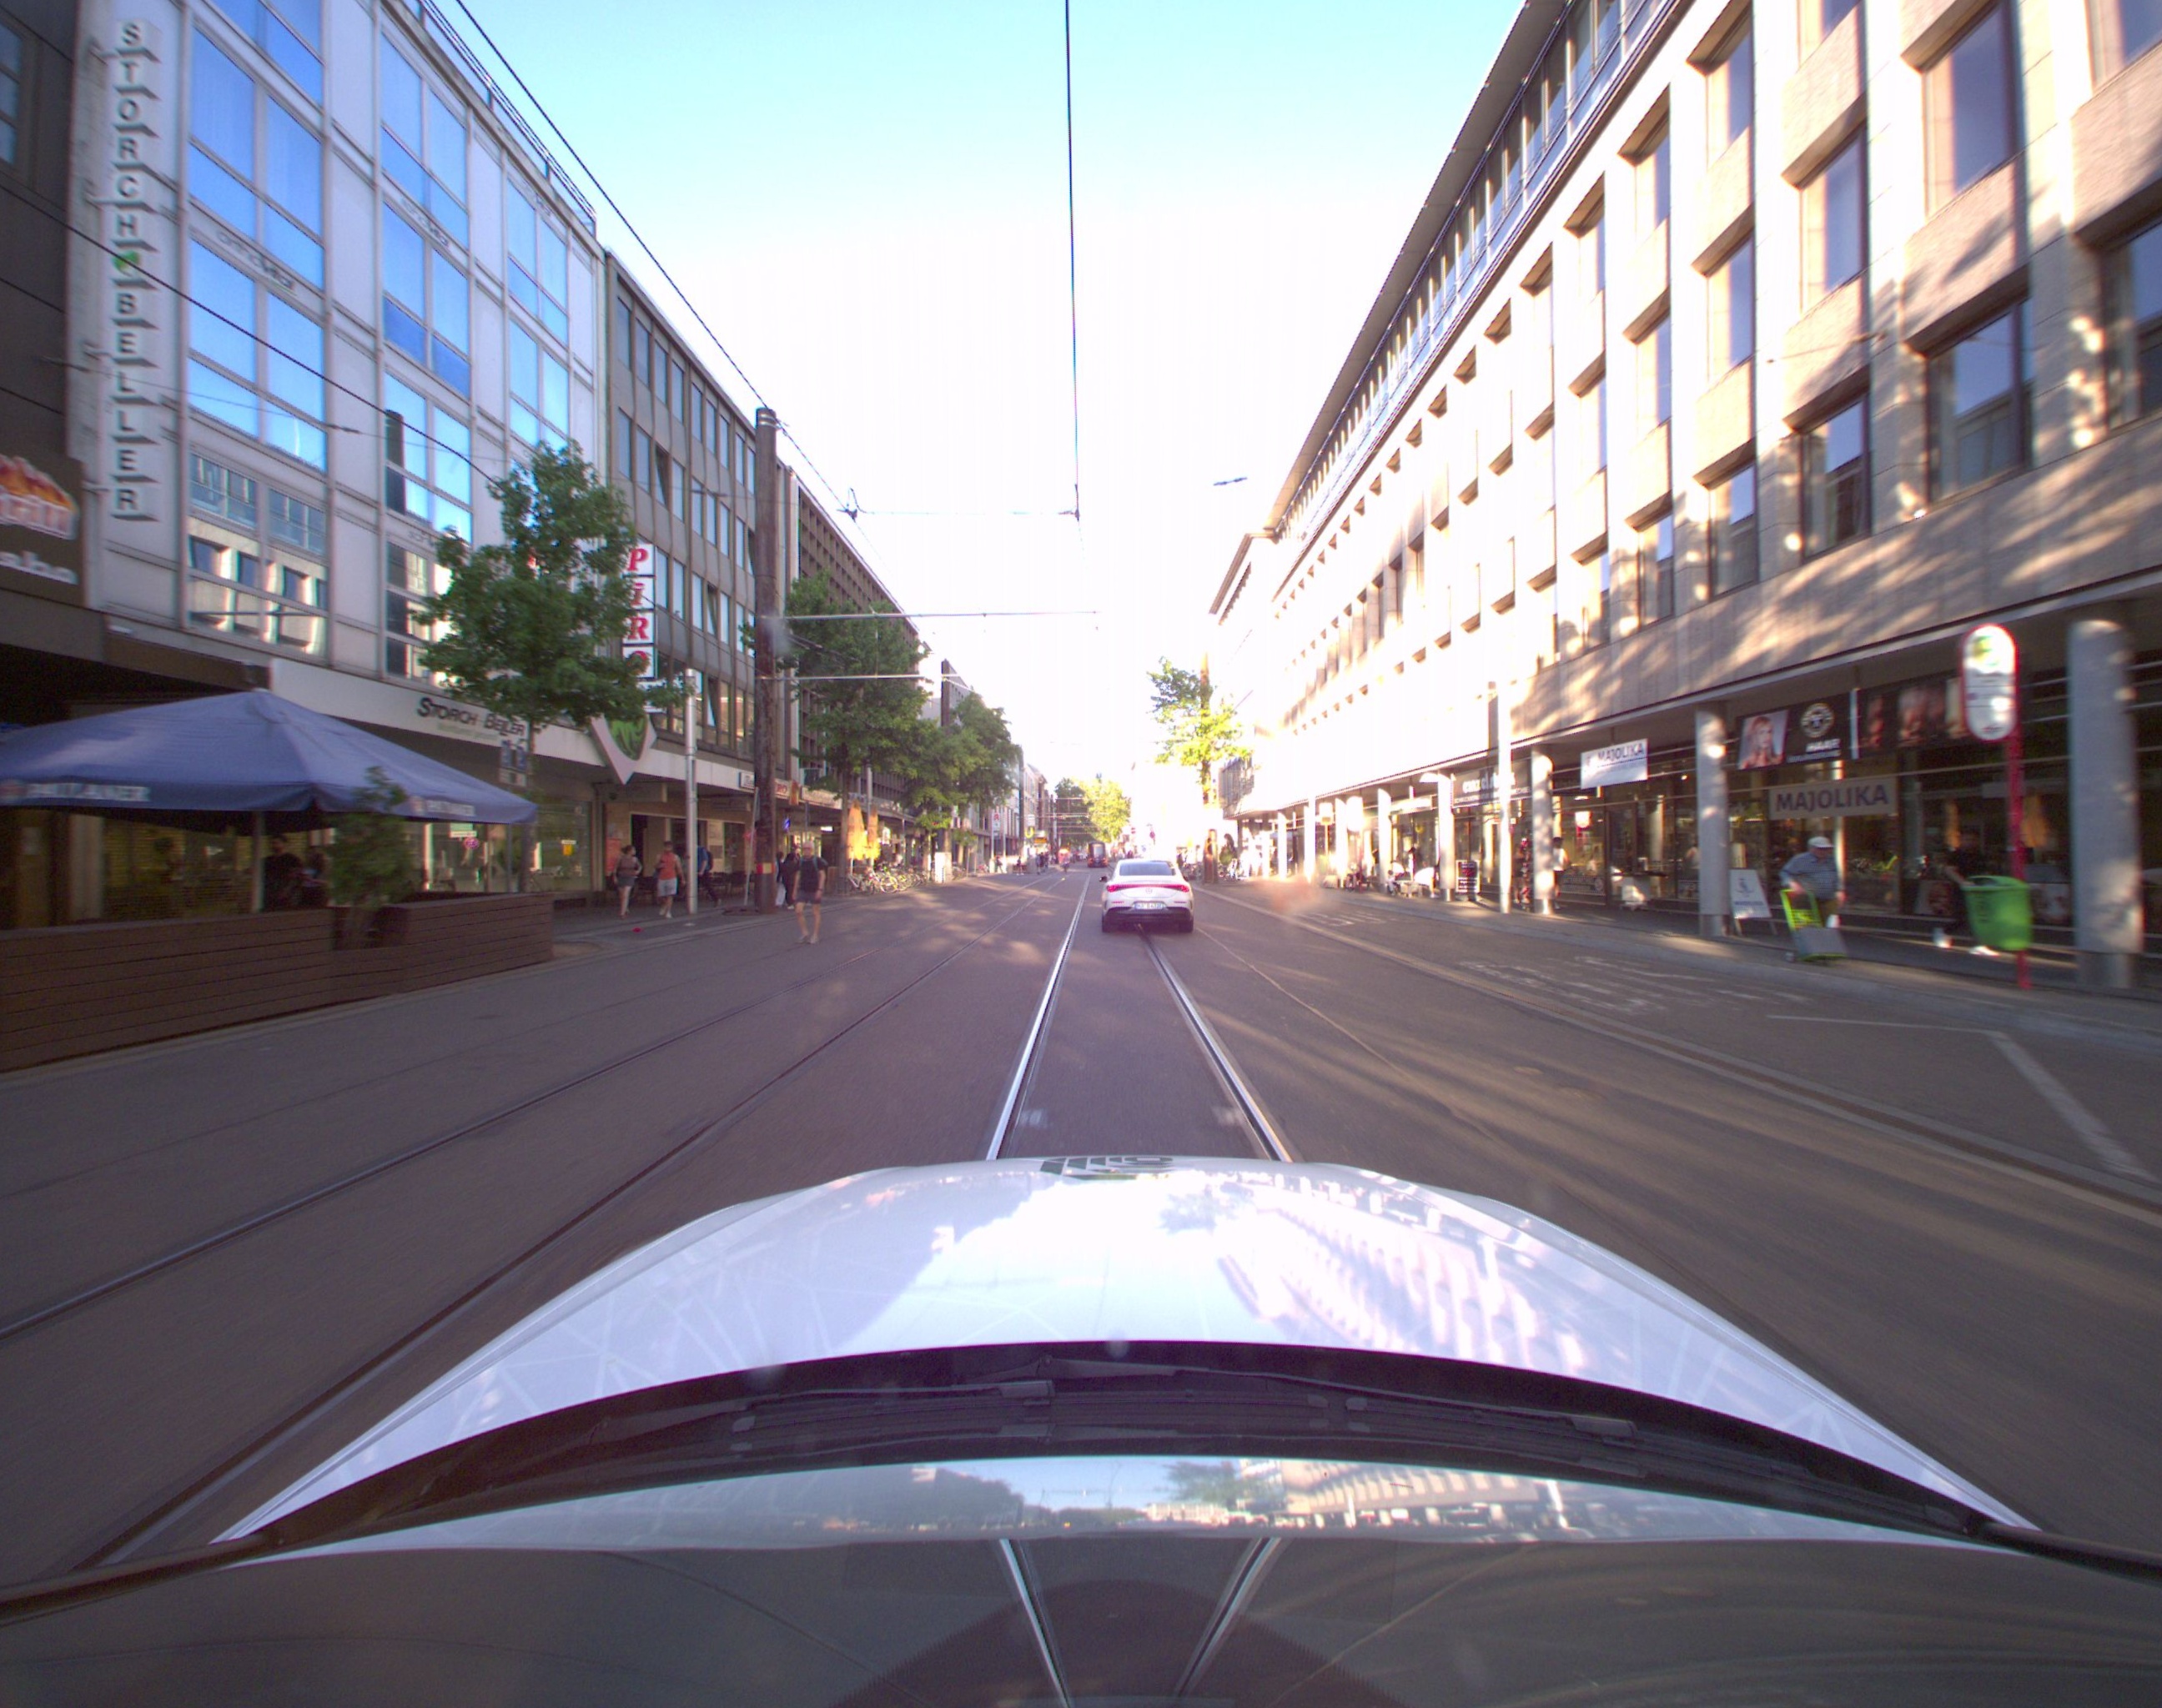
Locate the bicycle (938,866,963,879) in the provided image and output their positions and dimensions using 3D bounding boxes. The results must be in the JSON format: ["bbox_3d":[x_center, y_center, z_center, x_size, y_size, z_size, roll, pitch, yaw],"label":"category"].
[{"bbox_3d":[-8.089,1.117,50.384,1.487,0.783,0.345,1,0,2],"label":"bicycle"}]

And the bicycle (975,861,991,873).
[{"bbox_3d":[-8.764,1.185,72.985,0.713,1.010,2.047,-1,0,15],"label":"bicycle"}]

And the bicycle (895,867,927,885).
[{"bbox_3d":[-8.196,1.081,39.290,1.487,0.841,0.345,1,0,2],"label":"bicycle"}]

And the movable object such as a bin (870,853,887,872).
[{"bbox_3d":[-11.077,0.463,44.592,0.713,1.039,0.980,-1,0,-5],"label":"movable object such as a bin"}]

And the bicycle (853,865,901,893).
[{"bbox_3d":[-8.093,0.976,32.356,1.785,1.077,0.376,1,0,-4],"label":"bicycle"}]

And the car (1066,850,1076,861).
[{"bbox_3d":[-2.141,0.355,179.880,1.903,2.461,5.276,-1,0,1],"label":"car"}]

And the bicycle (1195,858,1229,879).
[{"bbox_3d":[7.879,0.860,49.070,1.908,1.156,0.607,-2,0,-11],"label":"bicycle"}]

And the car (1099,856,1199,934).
[{"bbox_3d":[1.332,0.780,17.429,1.851,1.455,4.175,0,0,1],"label":"car"}]

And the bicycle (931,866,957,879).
[{"bbox_3d":[-8.275,1.116,49.293,1.487,0.783,0.345,1,0,2],"label":"bicycle"}]

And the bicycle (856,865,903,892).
[{"bbox_3d":[-8.114,0.980,32.814,1.785,1.077,0.376,1,0,-4],"label":"bicycle"}]

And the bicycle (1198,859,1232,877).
[{"bbox_3d":[8.598,0.878,52.291,2.115,1.096,0.607,-1,-1,-12],"label":"bicycle"}]

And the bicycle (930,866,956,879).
[{"bbox_3d":[-8.288,1.115,48.934,1.487,0.783,0.345,1,0,2],"label":"bicycle"}]

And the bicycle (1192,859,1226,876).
[{"bbox_3d":[8.571,0.899,54.490,2.114,1.096,0.607,-1,-1,-11],"label":"bicycle"}]

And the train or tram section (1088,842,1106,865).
[{"bbox_3d":[2.639,-0.090,134.985,2.685,3.516,11.145,-1,0,1],"label":"train or tram section"}]

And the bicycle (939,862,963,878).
[{"bbox_3d":[-8.198,0.991,51.344,1.492,1.009,0.343,1,0,-10],"label":"bicycle"}]

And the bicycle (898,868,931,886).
[{"bbox_3d":[-8.107,1.110,39.674,1.487,0.841,0.345,1,0,2],"label":"bicycle"}]

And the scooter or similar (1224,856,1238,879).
[{"bbox_3d":[8.410,0.738,45.543,0.527,1.277,0.658,-2,0,-10],"label":"scooter or similar"}]

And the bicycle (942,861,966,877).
[{"bbox_3d":[-8.056,0.965,51.782,1.492,1.029,0.343,1,0,-10],"label":"bicycle"}]

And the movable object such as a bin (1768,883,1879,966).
[{"bbox_3d":[8.946,0.829,9.834,0.687,0.924,0.718,1,0,1],"label":"movable object such as a bin"}]

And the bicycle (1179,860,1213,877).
[{"bbox_3d":[7.503,0.933,52.967,2.114,1.096,0.607,0,-1,-11],"label":"bicycle"}]

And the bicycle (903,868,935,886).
[{"bbox_3d":[-8.000,1.131,40.316,1.487,0.841,0.345,1,0,2],"label":"bicycle"}]

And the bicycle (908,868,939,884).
[{"bbox_3d":[-8.056,1.143,41.669,1.487,0.783,0.345,1,0,2],"label":"bicycle"}]

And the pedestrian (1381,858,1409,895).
[{"bbox_3d":[10.374,0.724,26.930,0.663,1.198,0.786,0,0,6],"label":"pedestrian"}]

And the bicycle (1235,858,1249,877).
[{"bbox_3d":[9.889,0.810,50.113,0.562,1.127,1.931,-2,0,4],"label":"bicycle"}]

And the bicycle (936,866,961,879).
[{"bbox_3d":[-8.129,1.123,50.015,1.487,0.783,0.345,1,0,2],"label":"bicycle"}]

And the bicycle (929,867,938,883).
[{"bbox_3d":[-7.718,1.082,42.697,0.343,0.783,1.402,1,0,-7],"label":"bicycle"}]

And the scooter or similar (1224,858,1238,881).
[{"bbox_3d":[8.308,0.846,45.041,0.527,1.277,0.658,-2,0,-10],"label":"scooter or similar"}]

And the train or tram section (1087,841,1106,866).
[{"bbox_3d":[2.401,-0.101,123.144,2.685,3.516,12.547,-1,0,1],"label":"train or tram section"}]

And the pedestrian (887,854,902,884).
[{"bbox_3d":[-10.395,0.812,45.385,0.713,1.639,0.683,-1,0,-5],"label":"pedestrian"}]

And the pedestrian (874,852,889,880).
[{"bbox_3d":[-11.133,0.648,45.428,0.713,1.547,0.683,-1,0,-5],"label":"pedestrian"}]

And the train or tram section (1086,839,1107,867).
[{"bbox_3d":[2.141,-0.107,110.591,2.685,3.516,12.547,-1,0,1],"label":"train or tram section"}]

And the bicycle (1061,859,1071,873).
[{"bbox_3d":[-1.314,1.066,72.339,0.797,1.142,2.256,1,0,0],"label":"bicycle"}]

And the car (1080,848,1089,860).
[{"bbox_3d":[0.892,-0.041,211.911,2.091,2.897,5.276,-1,0,1],"label":"car"}]

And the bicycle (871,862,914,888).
[{"bbox_3d":[-8.462,0.936,36.609,1.839,1.141,0.377,1,0,2],"label":"bicycle"}]

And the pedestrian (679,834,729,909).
[{"bbox_3d":[-9.998,0.452,21.624,0.798,1.923,1.070,2,0,-2],"label":"pedestrian"}]

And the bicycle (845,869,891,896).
[{"bbox_3d":[-7.738,1.026,29.606,1.587,0.930,0.378,1,0,7],"label":"bicycle"}]

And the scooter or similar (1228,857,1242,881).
[{"bbox_3d":[8.413,0.802,44.573,0.491,1.277,0.658,-2,0,-10],"label":"scooter or similar"}]

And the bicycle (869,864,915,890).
[{"bbox_3d":[-7.905,0.970,34.091,1.842,1.077,0.376,1,0,-4],"label":"bicycle"}]

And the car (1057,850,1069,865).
[{"bbox_3d":[-3.553,0.662,161.021,1.986,2.897,5.276,-1,0,1],"label":"car"}]

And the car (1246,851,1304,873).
[{"bbox_3d":[14.079,0.585,59.108,3.794,1.473,1.646,-1,0,-5],"label":"car"}]

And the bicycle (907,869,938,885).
[{"bbox_3d":[-7.980,1.138,41.036,1.487,0.783,0.345,1,0,2],"label":"bicycle"}]

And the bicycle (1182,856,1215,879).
[{"bbox_3d":[7.203,0.821,49.985,1.908,1.281,0.607,-2,0,-11],"label":"bicycle"}]
